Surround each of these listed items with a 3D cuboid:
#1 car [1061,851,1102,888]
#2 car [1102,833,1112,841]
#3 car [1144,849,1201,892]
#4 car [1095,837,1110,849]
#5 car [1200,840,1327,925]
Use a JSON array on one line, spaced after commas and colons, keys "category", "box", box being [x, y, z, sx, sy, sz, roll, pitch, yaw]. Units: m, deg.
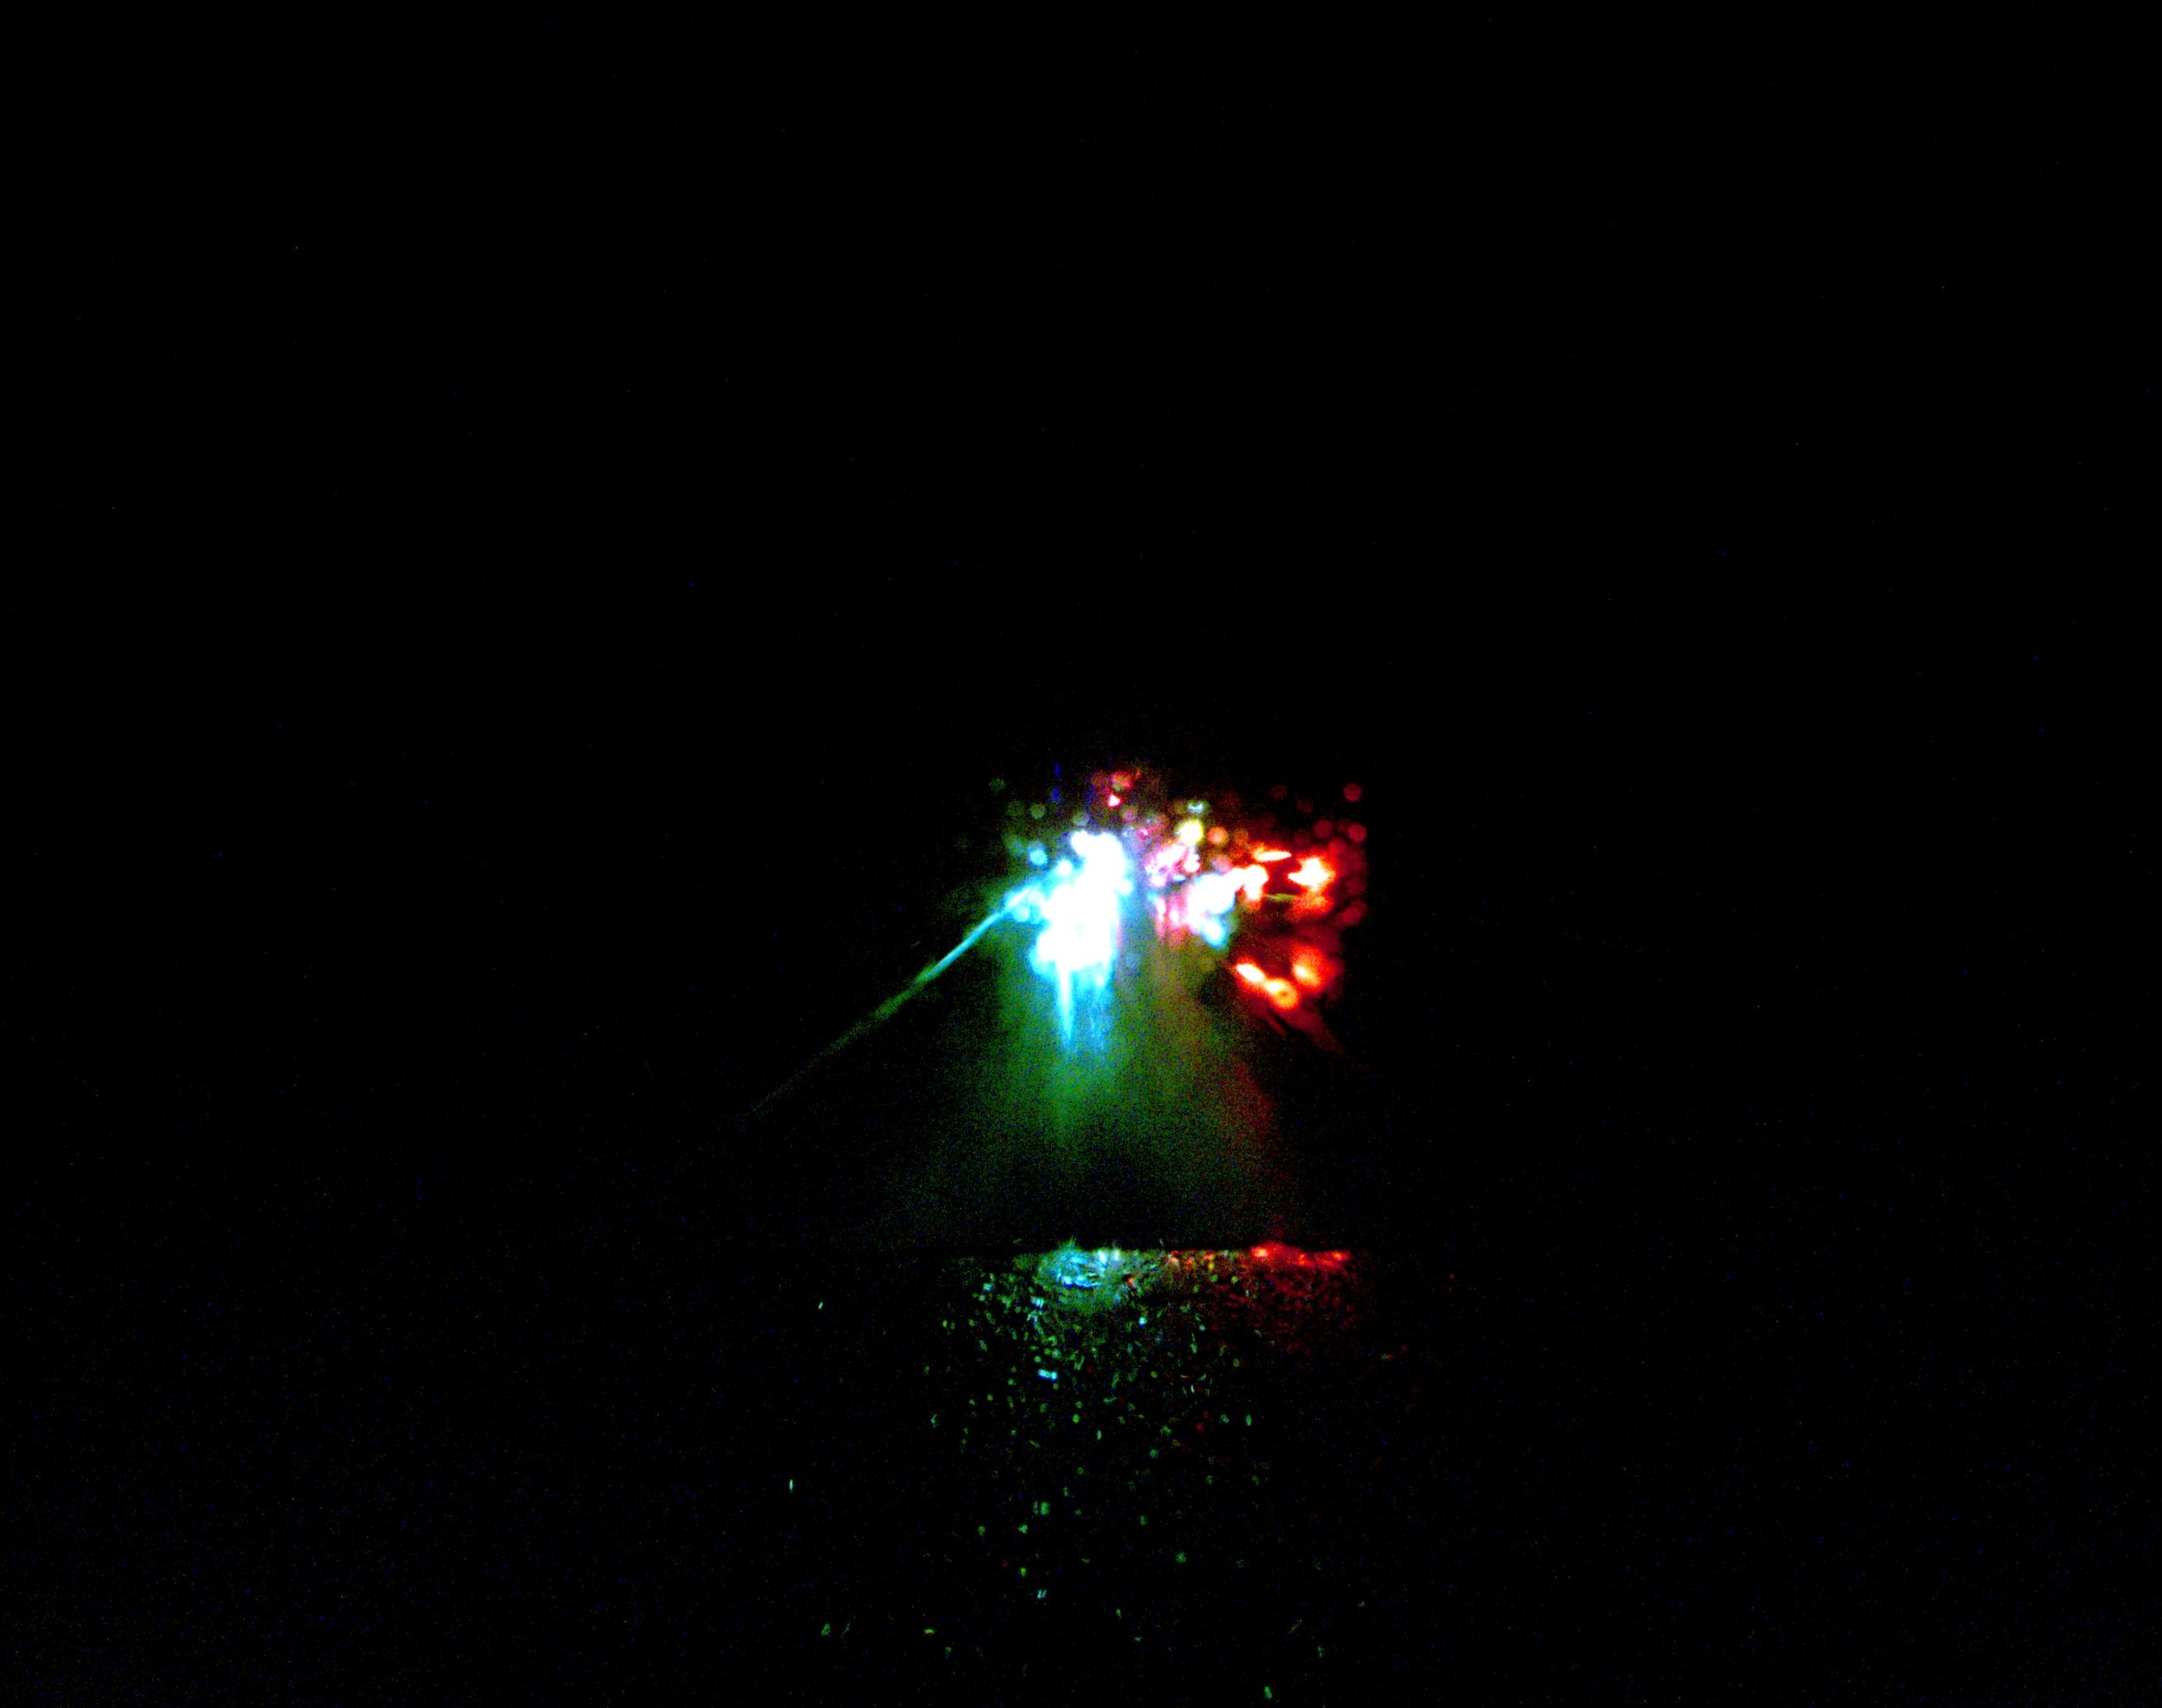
[{"category": "car", "box": [0.041, 0.730, 38.357, 1.893, 1.678, 4.339, -2, 0, 1]}, {"category": "car", "box": [6.050, -3.876, 175.527, 2.063, 1.668, 4.138, 2, 2, 0]}, {"category": "car", "box": [3.704, 0.626, 31.271, 1.893, 1.661, 4.000, 0, 0, 1]}, {"category": "car", "box": [3.110, -1.580, 110.529, 1.979, 1.508, 4.207, -3, -1, 1]}, {"category": "car", "box": [3.680, 0.528, 16.019, 1.893, 1.577, 4.001, 0, 0, 3]}]
